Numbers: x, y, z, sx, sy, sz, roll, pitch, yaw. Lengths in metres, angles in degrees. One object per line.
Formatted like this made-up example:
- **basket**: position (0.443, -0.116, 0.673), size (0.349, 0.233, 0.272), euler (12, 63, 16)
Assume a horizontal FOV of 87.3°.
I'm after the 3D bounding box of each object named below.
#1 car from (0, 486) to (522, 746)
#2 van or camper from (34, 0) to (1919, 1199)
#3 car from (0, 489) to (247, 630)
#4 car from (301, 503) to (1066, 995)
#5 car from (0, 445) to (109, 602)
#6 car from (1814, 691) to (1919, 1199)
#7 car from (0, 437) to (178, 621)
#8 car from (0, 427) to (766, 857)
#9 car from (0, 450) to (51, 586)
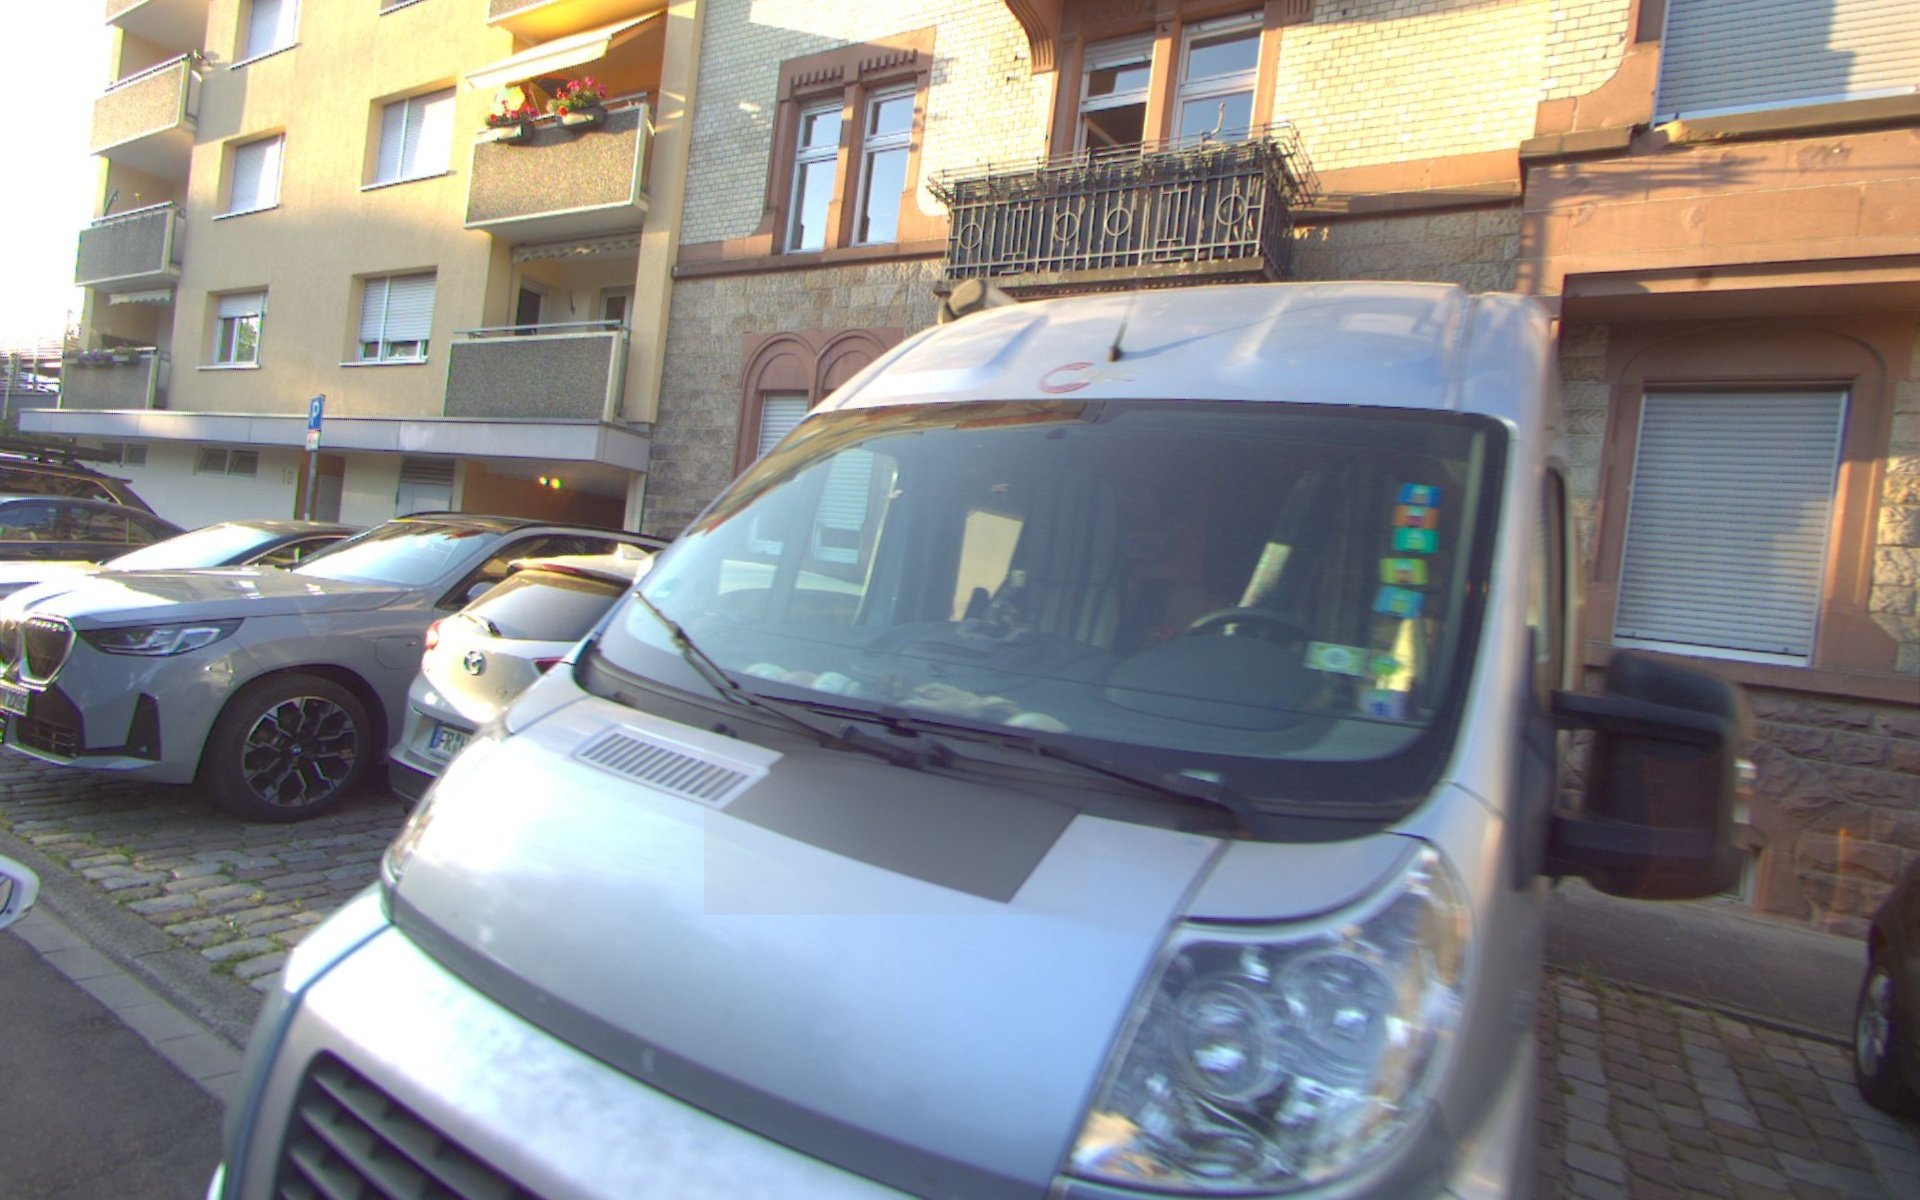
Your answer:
- **car**: position (-5.617, 0.053, 7.491), size (1.803, 1.473, 3.991), euler (7, 2, 27)
- **van or camper**: position (1.086, 0.362, 3.544), size (2.074, 2.802, 5.941), euler (7, -2, 30)
- **car**: position (-10.932, -0.529, 11.432), size (1.690, 1.444, 4.240), euler (7, 1, 31)
- **car**: position (-1.011, 0.603, 5.913), size (1.741, 1.616, 4.444), euler (7, 0, 25)
- **car**: position (-15.370, -1.376, 14.090), size (1.966, 2.170, 4.716), euler (7, -1, 30)
- **car**: position (3.568, 1.138, 2.340), size (1.758, 1.505, 3.935), euler (6, 1, 33)
- **car**: position (-13.160, -1.103, 12.626), size (1.966, 2.170, 4.716), euler (7, -1, 30)
- **car**: position (-3.387, 0.213, 6.547), size (1.741, 1.749, 4.444), euler (7, 0, 25)
- **car**: position (-17.392, -1.630, 15.332), size (1.966, 2.170, 4.716), euler (7, -1, 30)
